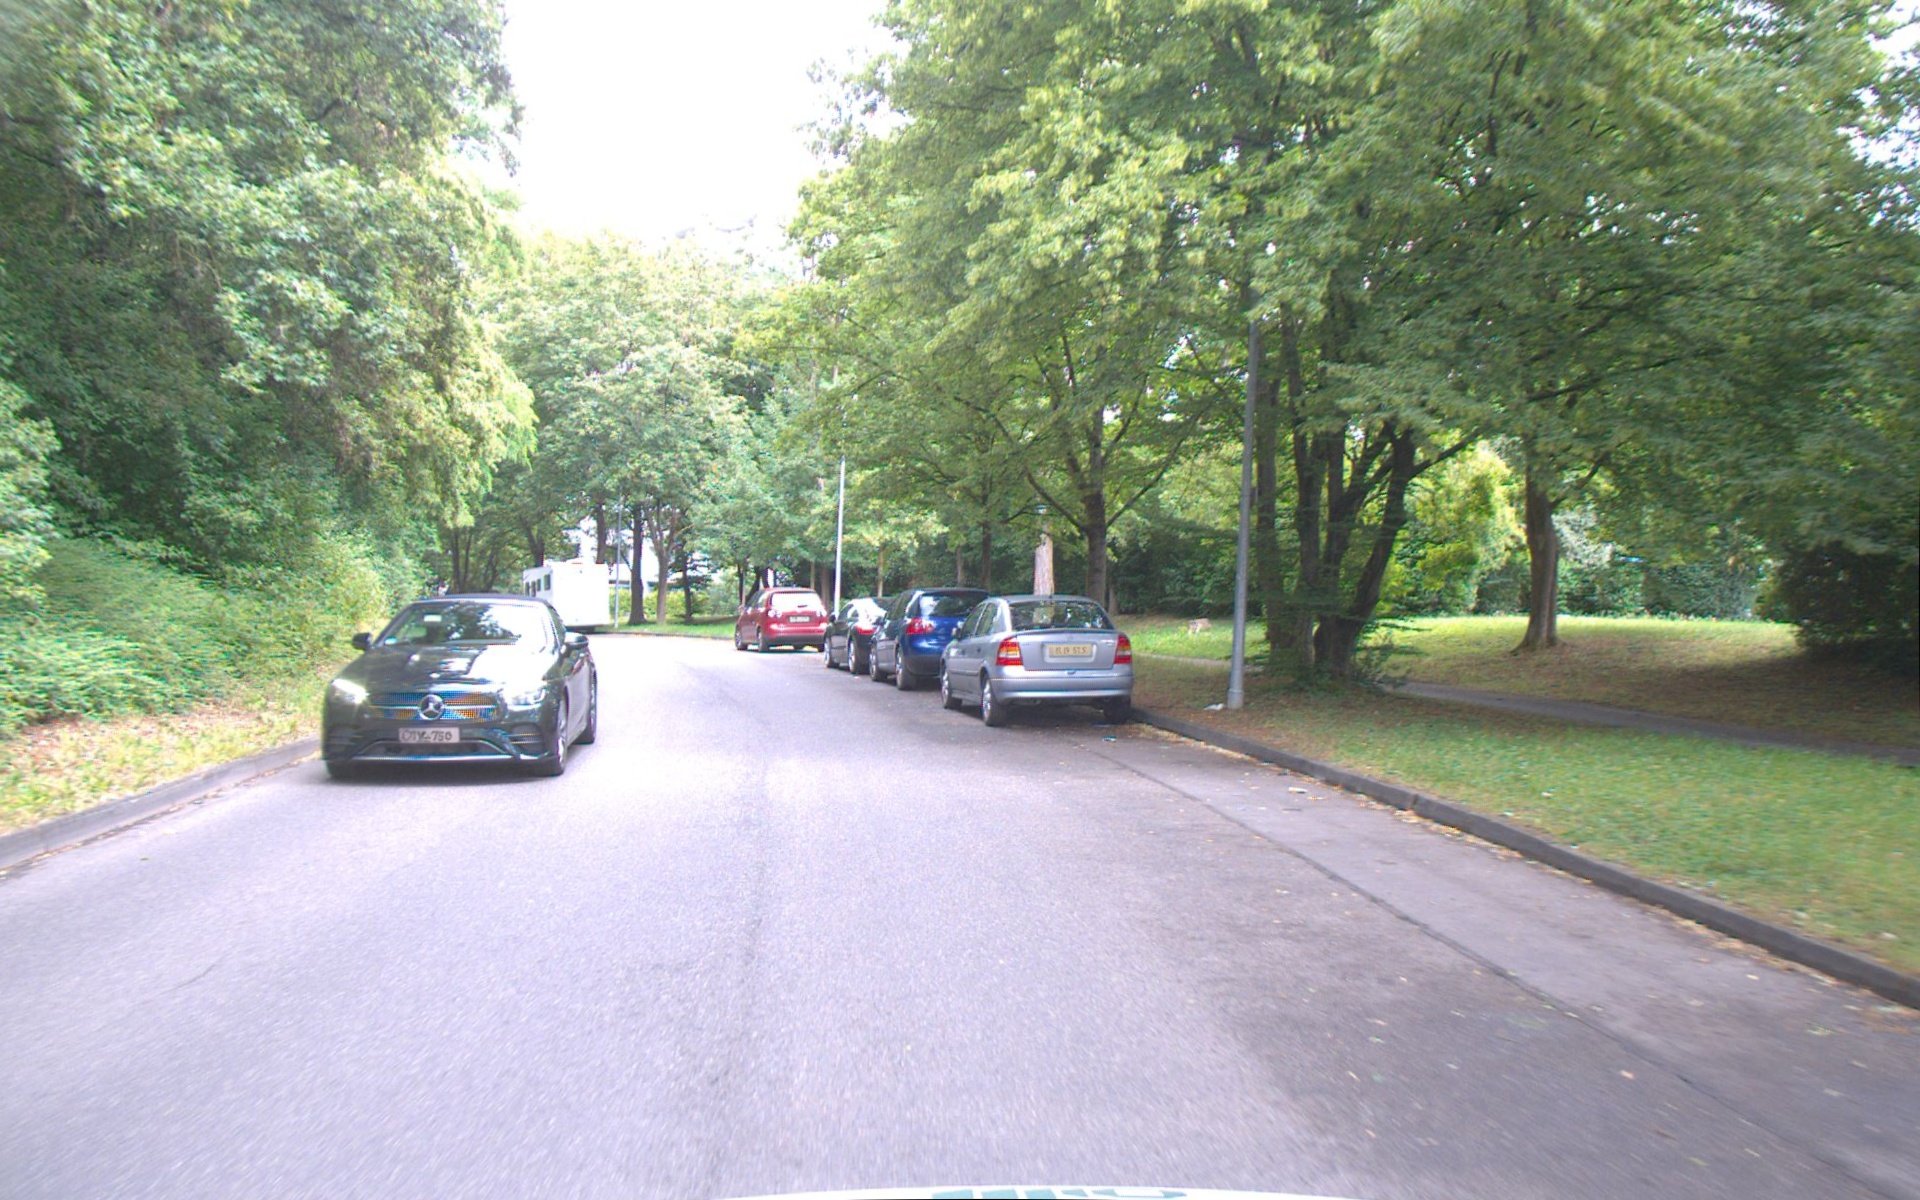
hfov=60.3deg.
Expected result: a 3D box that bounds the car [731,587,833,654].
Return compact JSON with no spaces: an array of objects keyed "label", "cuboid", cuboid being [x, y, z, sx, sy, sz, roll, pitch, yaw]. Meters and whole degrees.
[{"label":"car","cuboid":[-4.515,0.511,41.487,1.712,1.590,3.977,0,-1,-19]}]

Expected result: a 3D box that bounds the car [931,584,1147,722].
[{"label":"car","cuboid":[0.825,0.580,19.682,1.687,1.456,3.938,-1,0,-11]}]

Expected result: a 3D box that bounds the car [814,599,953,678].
[{"label":"car","cuboid":[-1.508,0.684,31.013,1.721,1.360,4.398,1,0,-15]}]

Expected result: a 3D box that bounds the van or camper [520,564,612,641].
[{"label":"van or camper","cuboid":[-16.468,0.079,68.906,2.403,3.060,5.158,-1,0,-29]}]

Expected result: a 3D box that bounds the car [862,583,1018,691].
[{"label":"car","cuboid":[-0.411,0.568,26.386,1.684,1.536,4.168,2,-1,-12]}]

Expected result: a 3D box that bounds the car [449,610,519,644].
[{"label":"car","cuboid":[-23.103,1.292,80.219,1.978,1.499,3.948,3,-1,-37]}]

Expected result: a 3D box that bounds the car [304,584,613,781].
[{"label":"car","cuboid":[-4.192,0.644,14.541,1.756,1.413,4.485,2,-1,-6]}]
